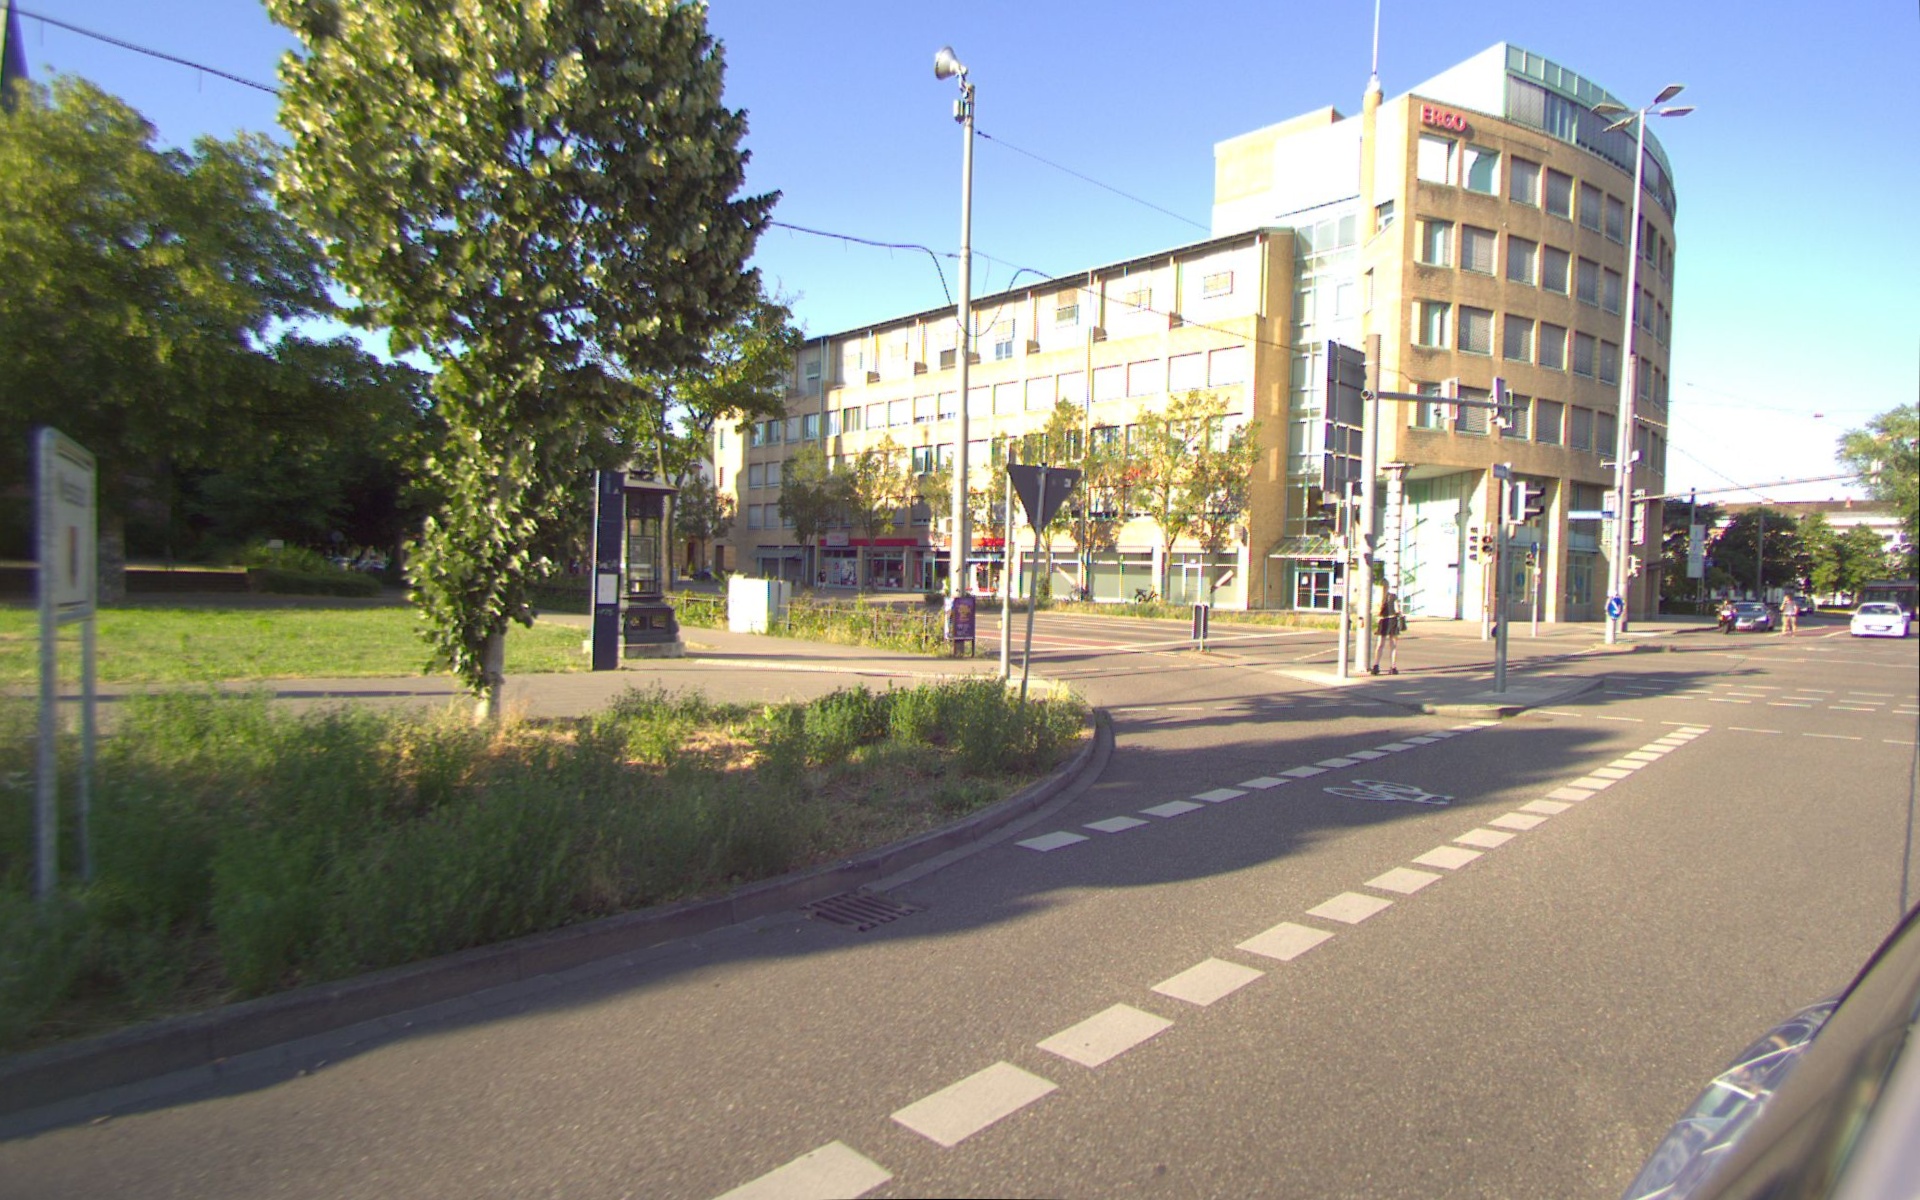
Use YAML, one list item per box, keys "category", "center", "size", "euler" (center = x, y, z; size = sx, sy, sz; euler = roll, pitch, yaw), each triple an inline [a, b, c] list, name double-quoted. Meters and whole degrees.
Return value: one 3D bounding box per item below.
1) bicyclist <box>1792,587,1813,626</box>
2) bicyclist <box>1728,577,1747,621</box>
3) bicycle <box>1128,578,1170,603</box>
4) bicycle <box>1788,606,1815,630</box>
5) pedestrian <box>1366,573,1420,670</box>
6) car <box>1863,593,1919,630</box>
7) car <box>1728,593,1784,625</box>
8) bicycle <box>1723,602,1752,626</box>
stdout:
- category: "bicyclist"
  center: [35.841, 0.263, 43.058]
  size: [0.818, 1.630, 0.551]
  euler: [1, 1, -42]
- category: "bicyclist"
  center: [34.722, -0.046, 45.191]
  size: [0.685, 1.963, 0.577]
  euler: [1, -1, -42]
- category: "bicycle"
  center: [9.866, -0.498, 52.880]
  size: [2.047, 1.253, 0.865]
  euler: [0, 0, -2]
- category: "bicycle"
  center: [35.785, 0.755, 43.026]
  size: [1.746, 0.940, 0.608]
  euler: [1, 1, -42]
- category: "pedestrian"
  center: [8.034, 0.381, 18.768]
  size: [0.702, 1.746, 0.650]
  euler: [1, 1, -42]
- category: "car"
  center: [39.624, 0.470, 42.961]
  size: [1.766, 1.491, 3.950]
  euler: [0, 0, 44]
- category: "car"
  center: [39.115, 0.399, 49.711]
  size: [1.766, 1.491, 3.950]
  euler: [0, 0, 44]
- category: "bicycle"
  center: [34.765, 0.625, 45.238]
  size: [1.945, 1.064, 0.699]
  euler: [1, 0, -42]
